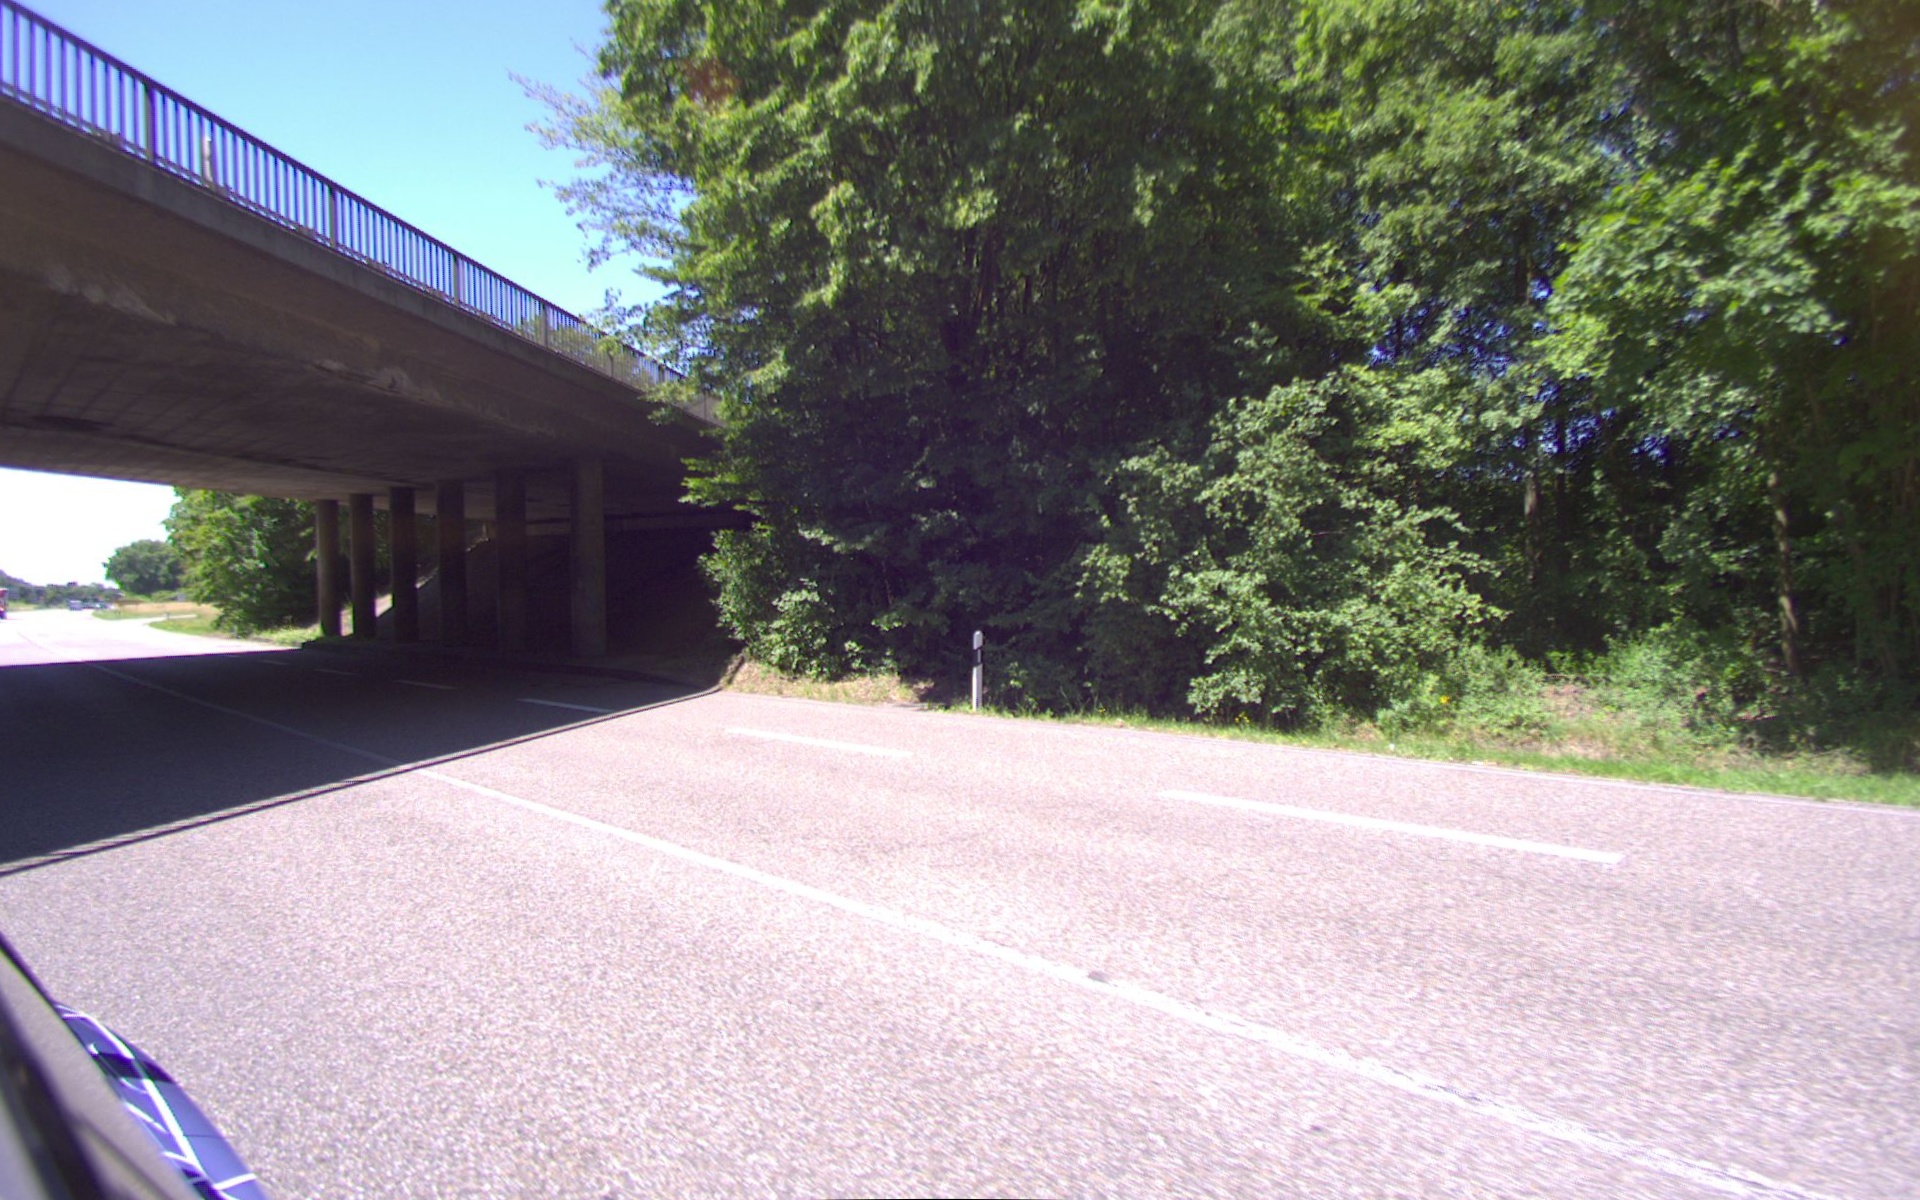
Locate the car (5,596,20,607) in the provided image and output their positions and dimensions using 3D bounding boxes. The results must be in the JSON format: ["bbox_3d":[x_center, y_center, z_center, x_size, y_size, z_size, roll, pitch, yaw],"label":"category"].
[{"bbox_3d":[-176.752,0.222,188.762,1.970,2.029,4.004,-1,1,-43],"label":"car"}]

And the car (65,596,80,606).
[{"bbox_3d":[-169.216,0.157,192.949,1.969,1.978,4.005,-1,1,-42],"label":"car"}]

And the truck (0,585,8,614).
[{"bbox_3d":[-100.124,-0.090,104.509,6.978,2.966,2.424,0,1,45],"label":"truck"}]
